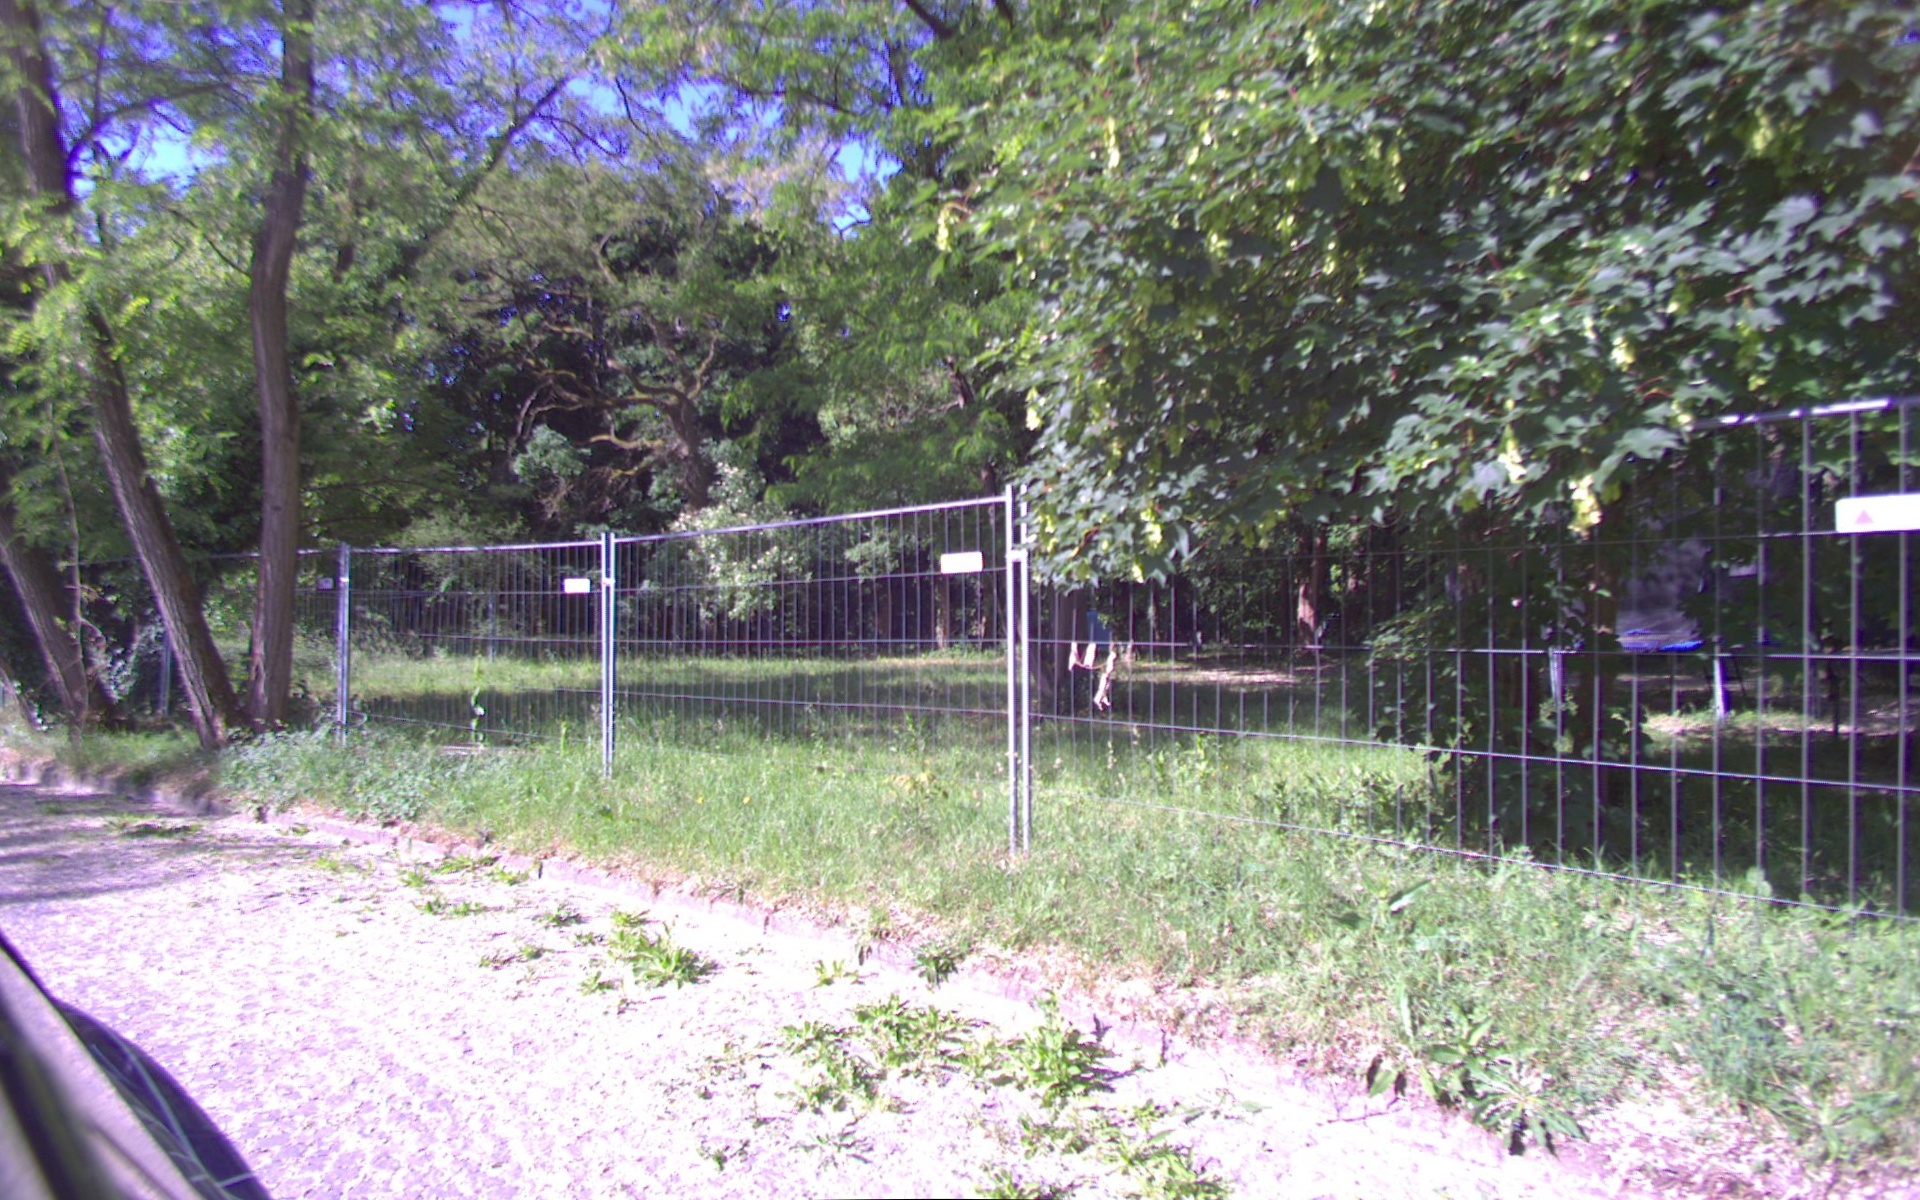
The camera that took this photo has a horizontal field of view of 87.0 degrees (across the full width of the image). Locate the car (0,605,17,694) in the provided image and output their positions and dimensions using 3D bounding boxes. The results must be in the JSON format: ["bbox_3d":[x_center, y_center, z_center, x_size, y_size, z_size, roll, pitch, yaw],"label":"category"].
[{"bbox_3d":[-18.937,1.032,16.908,1.816,1.601,4.246,-2,2,20],"label":"car"}]
